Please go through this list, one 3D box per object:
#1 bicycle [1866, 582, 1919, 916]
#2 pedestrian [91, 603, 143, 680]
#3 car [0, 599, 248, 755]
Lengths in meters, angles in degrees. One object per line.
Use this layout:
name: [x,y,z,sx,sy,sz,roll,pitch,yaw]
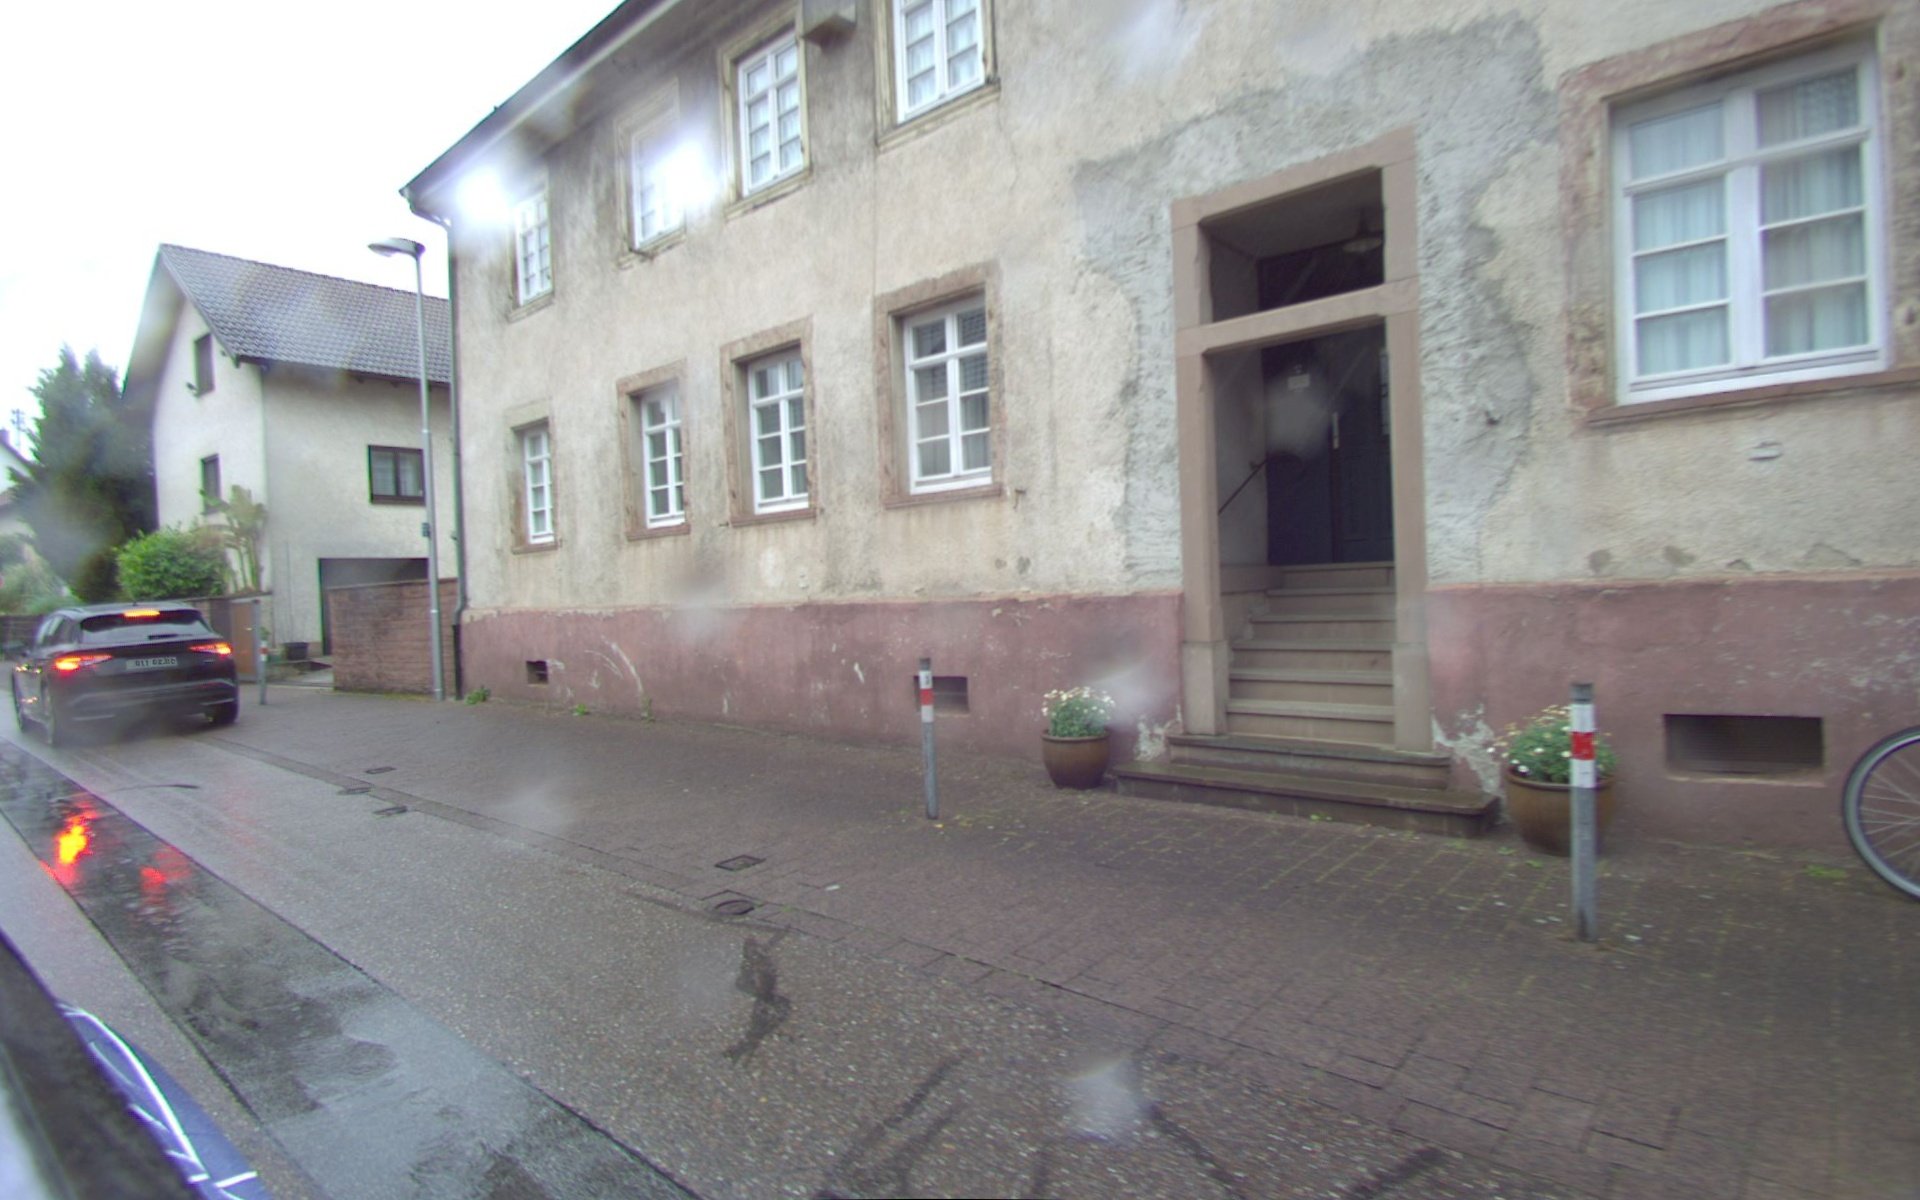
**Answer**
bicycle: [4.234,0.514,3.287,1.873,1.187,0.477,-2,2,41]
pedestrian: [-17.919,0.873,21.506,0.831,1.549,0.567,-2,2,36]
car: [-10.951,0.873,13.057,4.236,1.567,1.814,-1,3,41]
